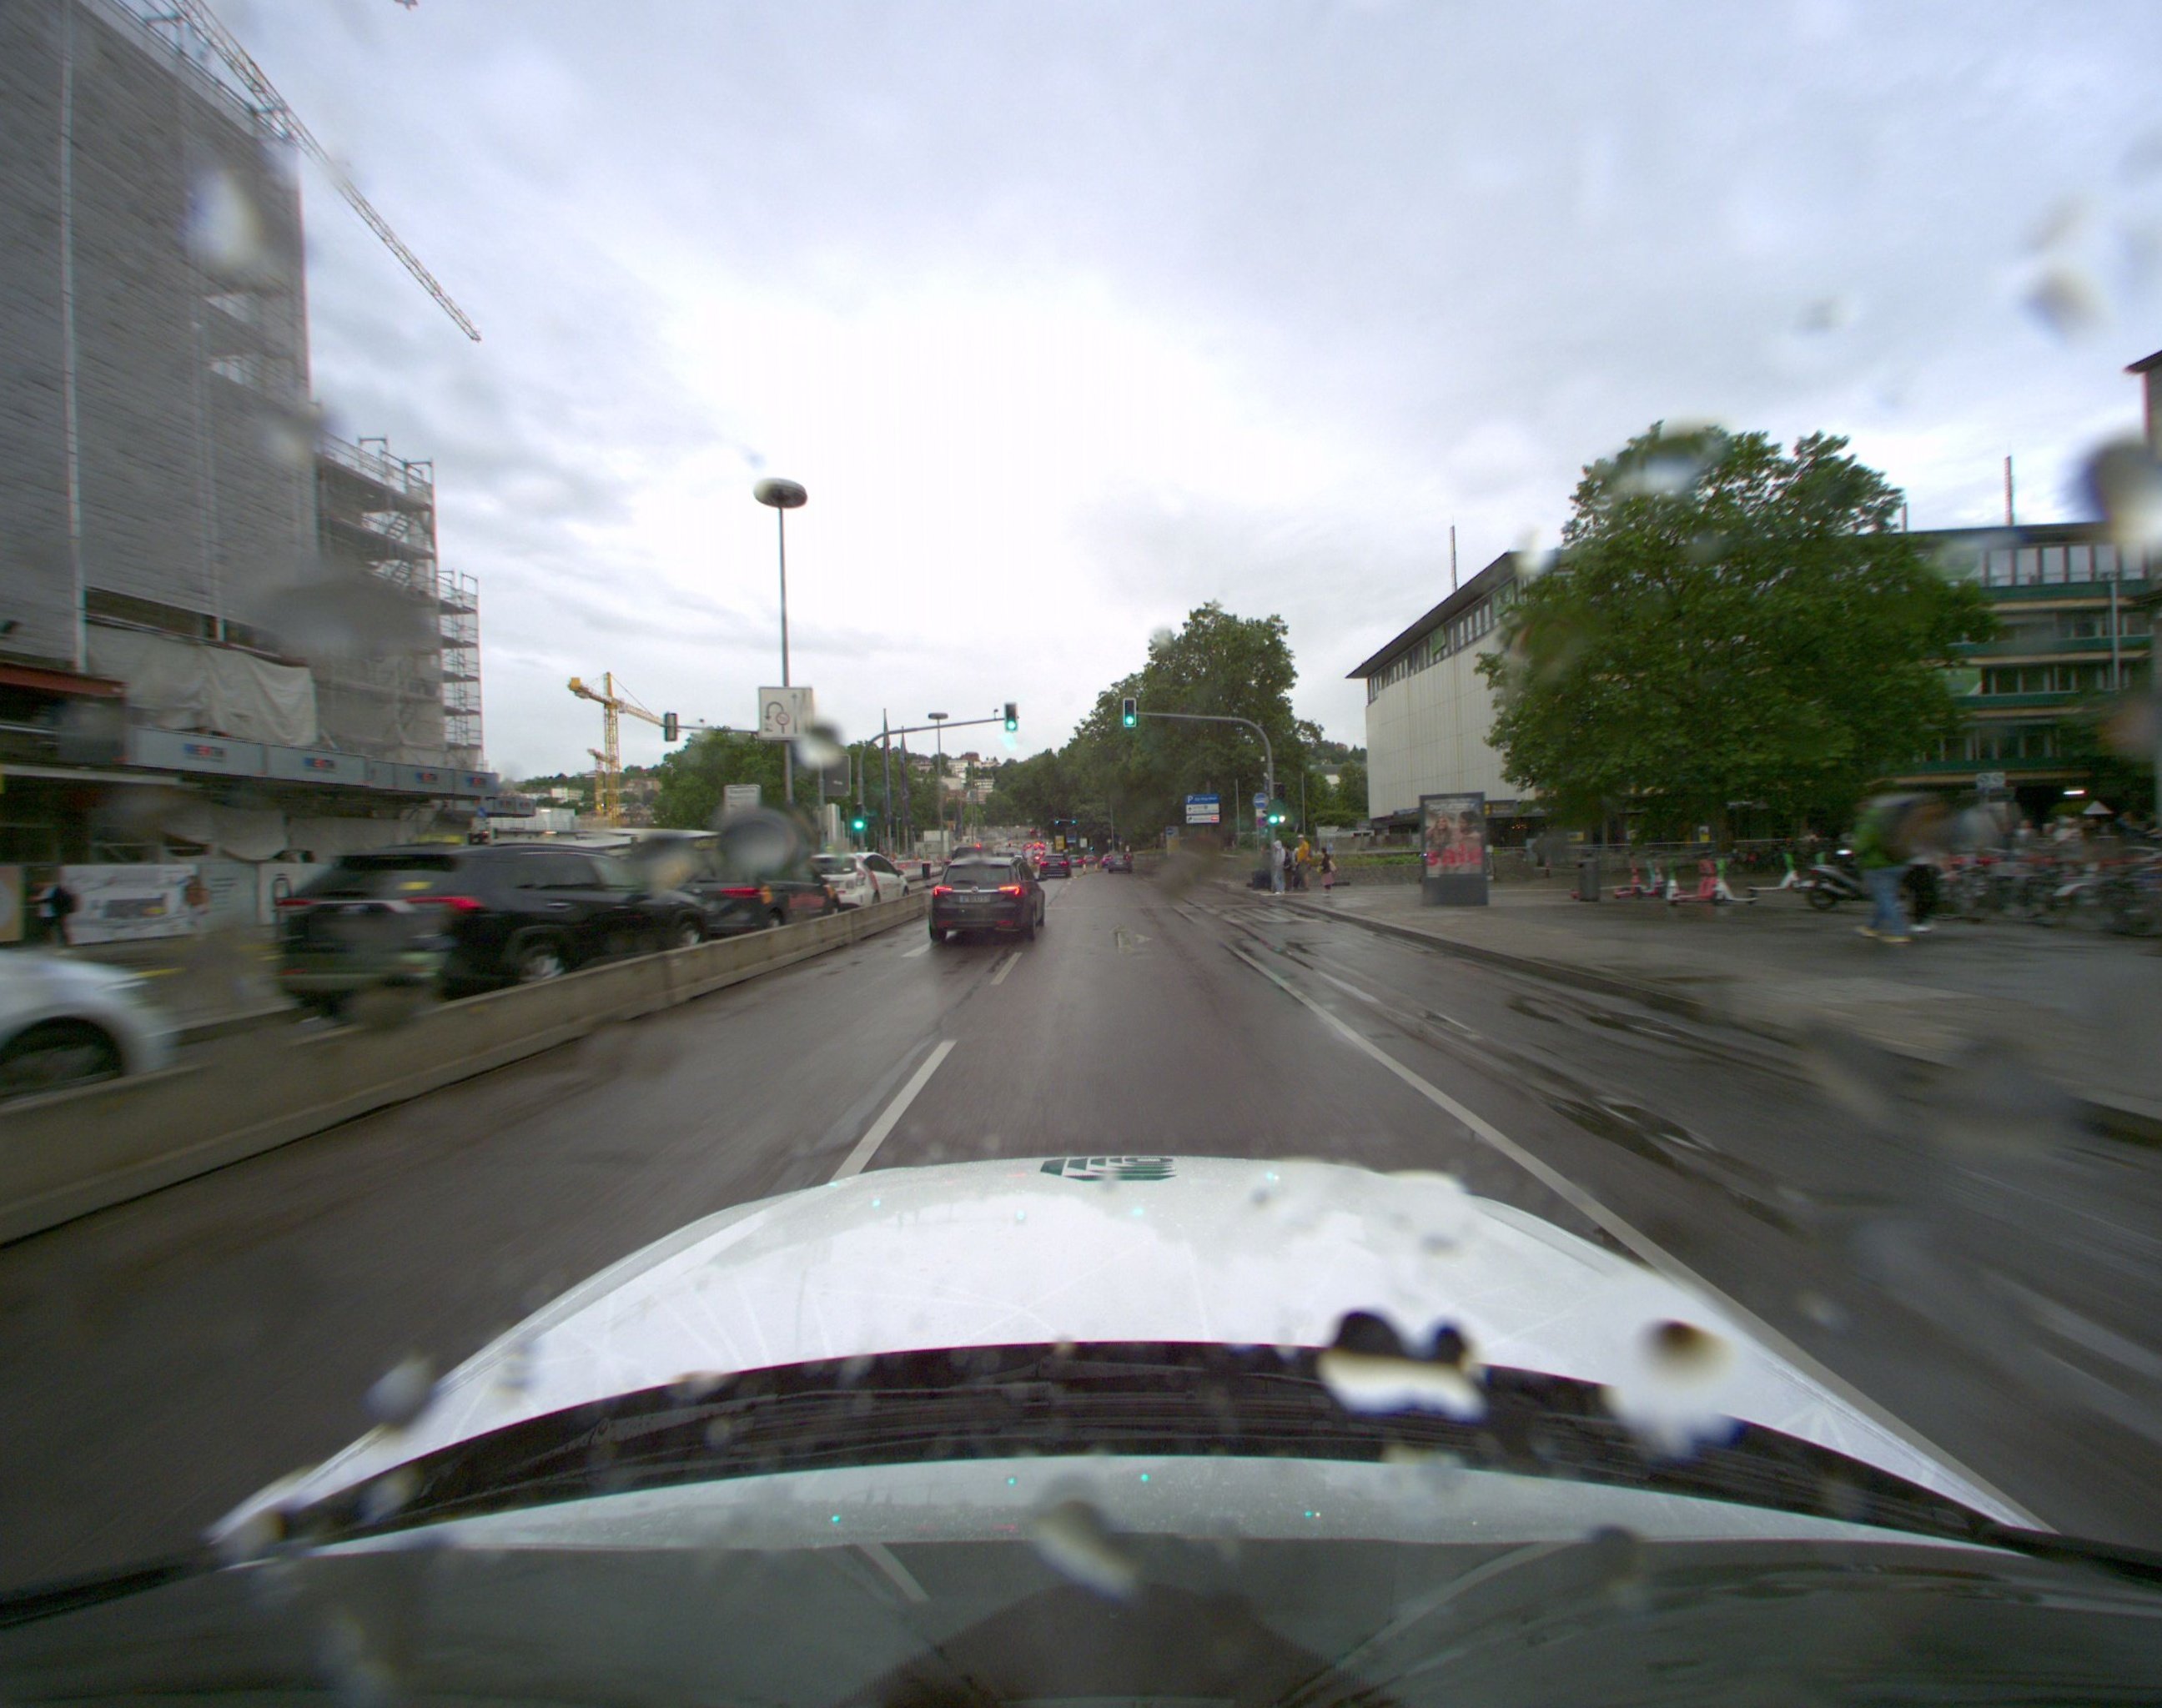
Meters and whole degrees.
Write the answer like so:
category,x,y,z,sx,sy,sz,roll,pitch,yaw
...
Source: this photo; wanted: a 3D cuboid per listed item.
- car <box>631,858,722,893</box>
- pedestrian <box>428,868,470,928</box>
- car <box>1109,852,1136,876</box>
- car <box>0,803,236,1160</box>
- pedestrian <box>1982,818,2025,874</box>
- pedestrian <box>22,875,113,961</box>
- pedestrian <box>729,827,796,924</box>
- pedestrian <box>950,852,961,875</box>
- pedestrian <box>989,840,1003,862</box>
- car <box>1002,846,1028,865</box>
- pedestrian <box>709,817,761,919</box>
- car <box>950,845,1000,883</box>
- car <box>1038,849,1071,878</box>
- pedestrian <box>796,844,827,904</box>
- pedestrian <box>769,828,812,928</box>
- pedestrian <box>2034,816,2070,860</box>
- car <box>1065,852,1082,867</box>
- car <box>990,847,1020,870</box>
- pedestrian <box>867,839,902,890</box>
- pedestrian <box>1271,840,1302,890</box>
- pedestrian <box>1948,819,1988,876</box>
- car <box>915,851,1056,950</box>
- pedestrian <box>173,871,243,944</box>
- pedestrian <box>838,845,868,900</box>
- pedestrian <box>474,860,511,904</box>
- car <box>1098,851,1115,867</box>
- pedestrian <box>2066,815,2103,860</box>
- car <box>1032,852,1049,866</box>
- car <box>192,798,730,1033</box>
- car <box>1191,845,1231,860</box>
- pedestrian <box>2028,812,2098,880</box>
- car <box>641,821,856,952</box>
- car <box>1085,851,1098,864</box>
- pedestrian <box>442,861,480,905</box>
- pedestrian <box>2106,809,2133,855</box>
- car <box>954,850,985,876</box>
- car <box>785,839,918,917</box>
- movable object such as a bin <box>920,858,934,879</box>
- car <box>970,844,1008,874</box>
category,x,y,z,sx,sy,sz,roll,pitch,yaw
car,-18.317,0.940,37.100,1.985,1.468,4.003,-1,0,3
pedestrian,-19.946,1.375,25.707,0.636,1.841,0.775,-2,0,1
car,3.042,0.702,60.631,1.845,1.717,4.000,-1,0,0
car,-6.436,0.674,2.957,1.987,1.787,4.454,-2,0,1
pedestrian,25.915,-0.221,22.881,0.663,1.523,0.787,-2,0,41
pedestrian,-22.875,1.425,18.407,0.815,1.841,0.937,-2,0,2
pedestrian,-6.909,0.447,17.668,0.825,2.013,1.034,-1,0,40
pedestrian,-9.486,0.711,61.572,0.631,1.753,0.823,-1,-1,5
pedestrian,-7.838,-0.266,75.201,1.018,2.013,0.839,-2,0,12
car,-5.946,0.158,73.590,1.988,1.567,4.872,-3,0,-2
pedestrian,-7.044,0.284,16.610,0.619,2.013,0.836,-2,0,1
car,-5.416,0.508,42.207,1.988,1.845,5.059,-1,0,-2
car,-1.606,0.555,51.304,1.824,1.686,4.134,-2,0,1
pedestrian,-7.982,0.586,24.147,0.581,1.735,0.757,-2,0,2
pedestrian,-6.042,0.484,16.972,0.526,2.013,0.891,-2,0,0
pedestrian,37.213,-0.599,31.203,0.772,1.667,0.706,0,-1,-27
car,-0.860,0.666,94.551,1.897,1.717,4.000,-1,0,0
car,-5.338,0.313,57.957,1.819,1.511,4.487,-1,0,-2
pedestrian,-7.386,0.405,30.672,0.995,1.886,0.687,-2,0,24
pedestrian,7.250,0.377,28.763,0.871,1.691,0.759,-2,0,2
pedestrian,25.342,-0.184,23.279,0.638,1.601,0.620,-4,-2,41
car,-1.577,0.719,15.210,1.870,1.508,4.854,-1,0,2
pedestrian,-23.131,1.400,21.596,0.724,1.841,0.994,-2,0,2
pedestrian,-7.986,0.633,28.555,0.829,1.886,0.689,-2,1,-8
pedestrian,-26.256,1.246,36.337,0.825,1.881,1.034,-3,-1,33
car,2.694,0.522,85.525,1.668,1.581,3.241,-1,0,2
pedestrian,37.742,-0.607,30.622,0.772,1.667,0.706,0,-1,-27
car,-5.719,0.686,113.786,1.992,1.827,3.989,-1,0,-8
car,-5.936,0.478,8.845,1.986,1.787,4.849,-2,0,1
car,13.002,-0.134,81.558,3.573,1.506,1.745,-1,0,41
pedestrian,24.680,-0.197,20.486,0.785,1.674,0.894,-1,-1,25
car,-5.576,0.473,14.397,1.707,1.892,4.612,-2,0,2
car,1.422,0.474,111.340,1.630,1.624,3.791,-1,0,-3
pedestrian,-27.010,1.255,35.482,0.825,1.881,1.034,-3,-1,32
pedestrian,36.824,-0.771,28.890,0.459,1.639,0.440,0,-1,-17
car,-9.049,0.685,66.657,1.989,2.014,5.364,-1,0,-3
car,-5.561,0.524,20.406,1.779,1.685,4.669,-2,0,2
movable object such as a bin,-8.674,0.798,45.908,0.669,1.161,0.766,1,0,-5
car,-5.510,0.297,49.152,1.819,1.696,4.771,-1,0,-2
